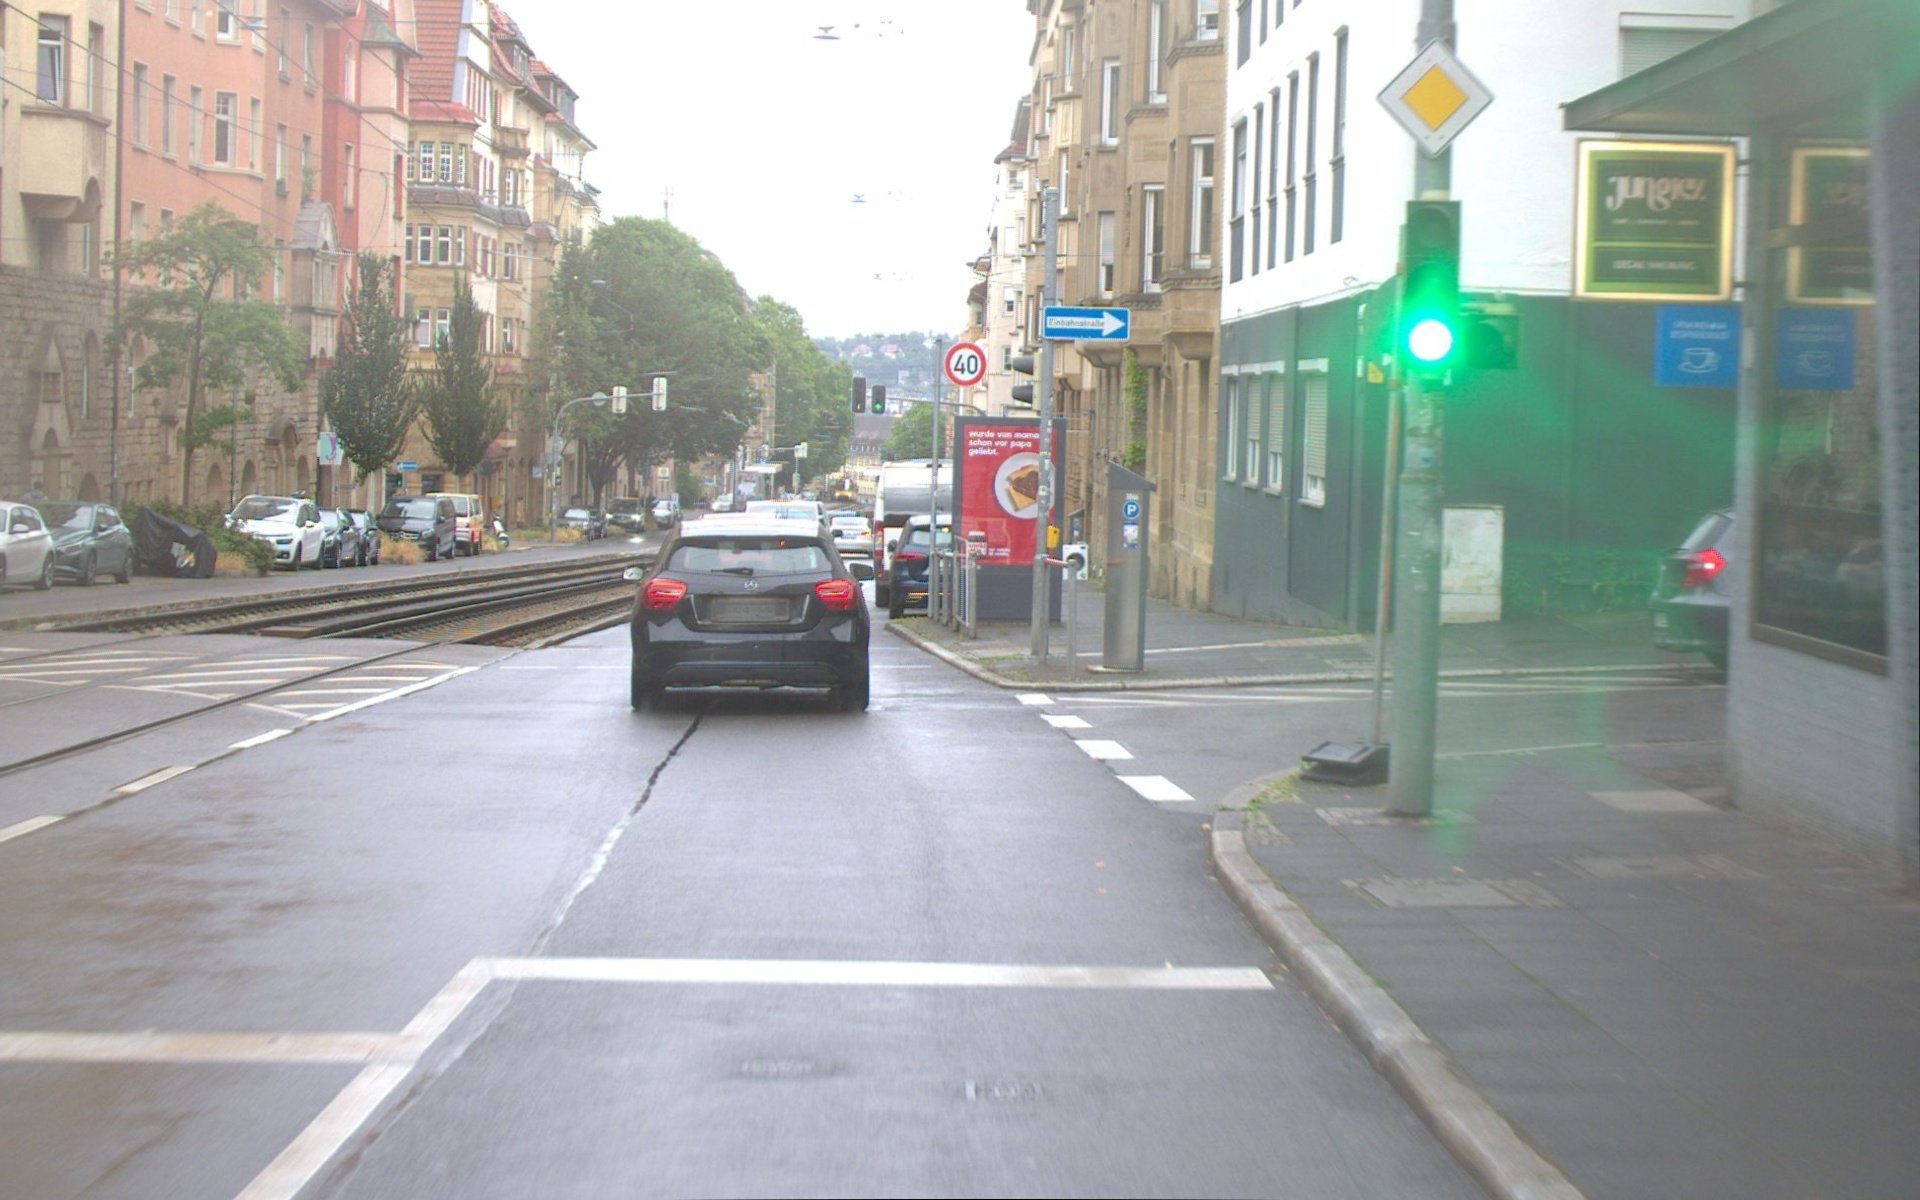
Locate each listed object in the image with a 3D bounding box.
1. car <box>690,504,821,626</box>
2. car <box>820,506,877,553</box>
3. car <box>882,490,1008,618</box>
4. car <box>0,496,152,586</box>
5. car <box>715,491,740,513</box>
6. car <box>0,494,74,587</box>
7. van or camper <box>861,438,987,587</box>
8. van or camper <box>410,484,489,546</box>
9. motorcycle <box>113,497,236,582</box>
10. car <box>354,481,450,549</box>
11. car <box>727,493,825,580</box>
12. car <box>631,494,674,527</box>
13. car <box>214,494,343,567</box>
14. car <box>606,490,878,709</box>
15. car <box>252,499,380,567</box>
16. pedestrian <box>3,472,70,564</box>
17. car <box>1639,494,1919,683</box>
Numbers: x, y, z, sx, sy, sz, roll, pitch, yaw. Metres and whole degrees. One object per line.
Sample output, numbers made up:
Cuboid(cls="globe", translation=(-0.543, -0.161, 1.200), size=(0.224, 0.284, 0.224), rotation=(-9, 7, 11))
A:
Cuboid(cls="car", translation=(-2.791, -0.513, 47.489), size=(1.536, 1.505, 4.001), rotation=(2, 2, 0))
Cuboid(cls="car", translation=(-3.930, -2.498, 121.701), size=(1.902, 1.588, 4.000), rotation=(1, 0, -1))
Cuboid(cls="car", translation=(-0.240, -0.720, 52.029), size=(1.768, 1.802, 4.482), rotation=(2, 1, -1))
Cuboid(cls="car", translation=(-15.456, -1.054, 60.232), size=(1.561, 1.433, 4.146), rotation=(0, 3, 1))
Cuboid(cls="car", translation=(-17.326, -7.281, 255.978), size=(1.795, 1.543, 4.001), rotation=(1, 1, -4))
Cuboid(cls="car", translation=(-15.396, -0.965, 54.175), size=(1.667, 1.421, 4.262), rotation=(1, 1, 1))
Cuboid(cls="van or camper", translation=(-0.622, -1.511, 60.506), size=(2.064, 2.460, 6.119), rotation=(1, 1, 0))
Cuboid(cls="van or camper", translation=(-16.231, -2.732, 109.538), size=(1.993, 1.895, 4.700), rotation=(0, 2, -3))
Cuboid(cls="motorcycle", translation=(-15.616, -1.208, 68.339), size=(2.258, 1.637, 1.293), rotation=(1, 1, -17))
Cuboid(cls="car", translation=(-16.445, -2.501, 101.539), size=(1.993, 1.895, 4.699), rotation=(1, 1, 1))
Cuboid(cls="car", translation=(-3.766, -1.314, 69.786), size=(1.921, 1.649, 4.001), rotation=(0, 3, -4))
Cuboid(cls="car", translation=(-17.096, -4.995, 191.515), size=(1.993, 1.787, 4.000), rotation=(2, 2, 0))
Cuboid(cls="car", translation=(-15.574, -1.581, 78.788), size=(1.785, 1.584, 4.350), rotation=(1, 1, 4))
Cuboid(cls="car", translation=(-1.624, -0.028, 26.614), size=(1.946, 1.559, 3.643), rotation=(1, 1, -2))
Cuboid(cls="car", translation=(-15.836, -1.673, 84.786), size=(1.994, 1.504, 4.974), rotation=(3, 2, 2))
Cuboid(cls="pedestrian", translation=(-18.106, -1.615, 67.418), size=(1.007, 1.747, 0.924), rotation=(2, 1, 1))
Cuboid(cls="car", translation=(7.402, -0.111, 26.553), size=(3.987, 1.409, 1.761), rotation=(0, 2, 2))
